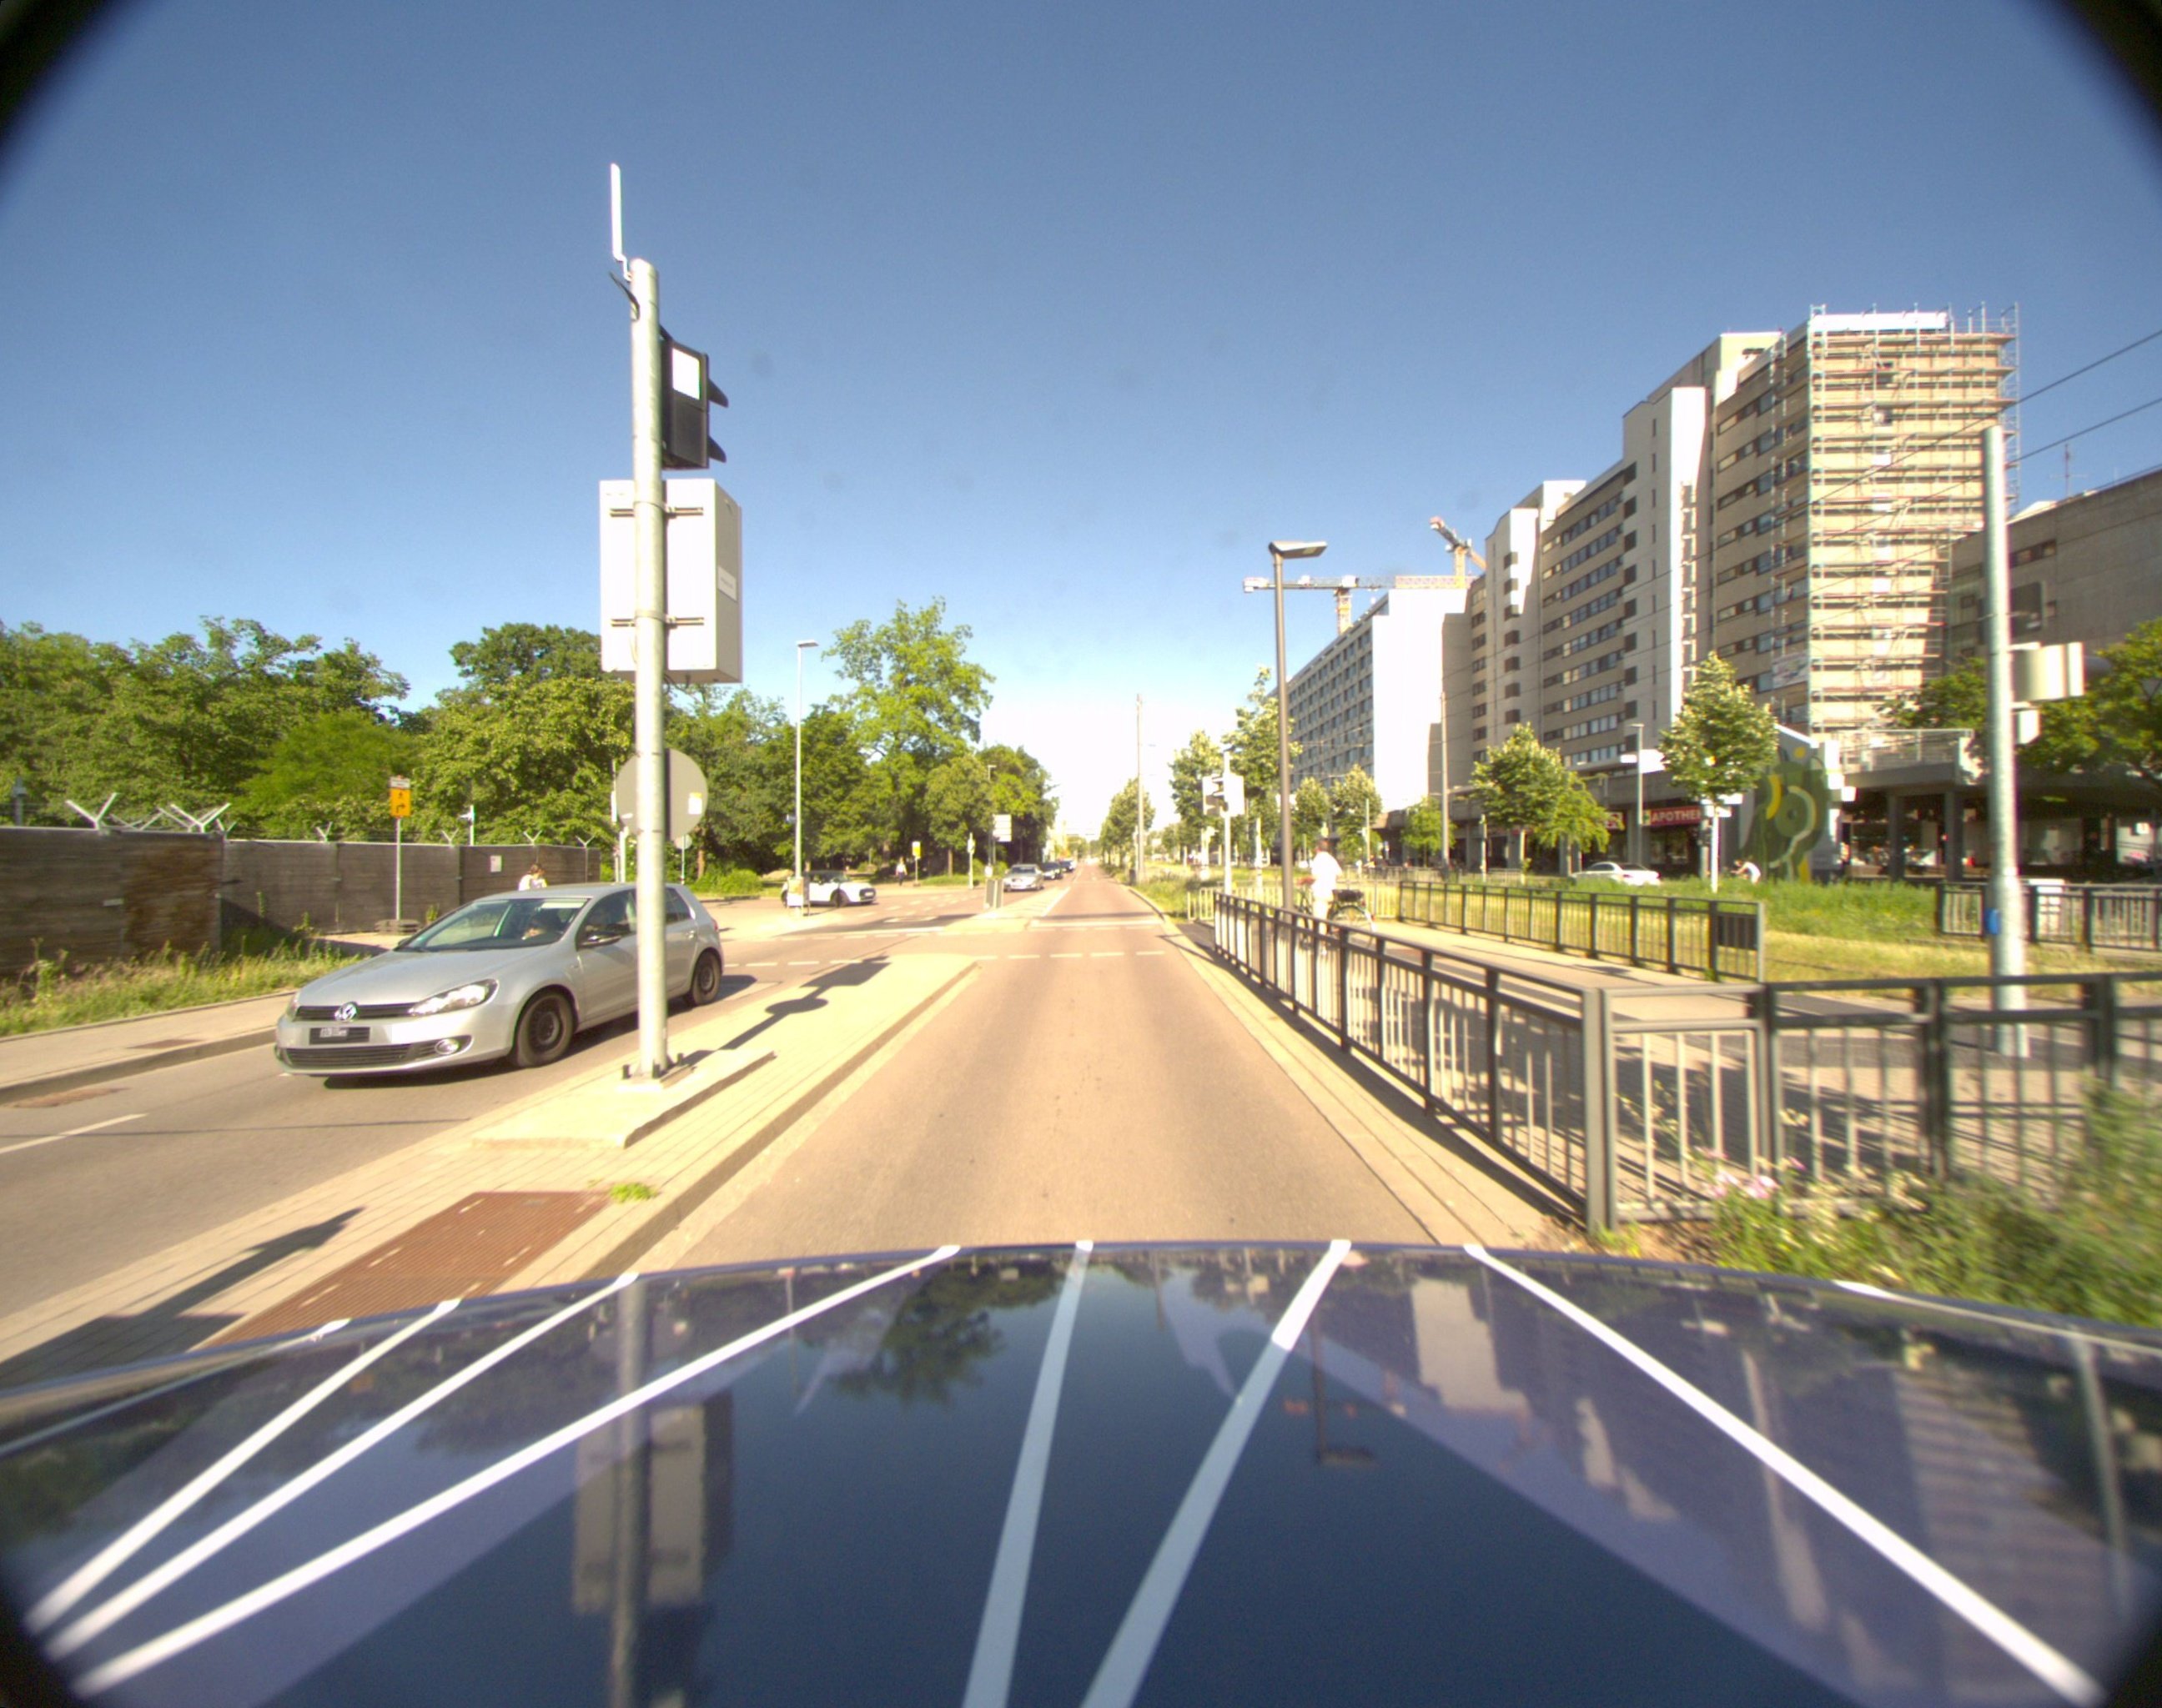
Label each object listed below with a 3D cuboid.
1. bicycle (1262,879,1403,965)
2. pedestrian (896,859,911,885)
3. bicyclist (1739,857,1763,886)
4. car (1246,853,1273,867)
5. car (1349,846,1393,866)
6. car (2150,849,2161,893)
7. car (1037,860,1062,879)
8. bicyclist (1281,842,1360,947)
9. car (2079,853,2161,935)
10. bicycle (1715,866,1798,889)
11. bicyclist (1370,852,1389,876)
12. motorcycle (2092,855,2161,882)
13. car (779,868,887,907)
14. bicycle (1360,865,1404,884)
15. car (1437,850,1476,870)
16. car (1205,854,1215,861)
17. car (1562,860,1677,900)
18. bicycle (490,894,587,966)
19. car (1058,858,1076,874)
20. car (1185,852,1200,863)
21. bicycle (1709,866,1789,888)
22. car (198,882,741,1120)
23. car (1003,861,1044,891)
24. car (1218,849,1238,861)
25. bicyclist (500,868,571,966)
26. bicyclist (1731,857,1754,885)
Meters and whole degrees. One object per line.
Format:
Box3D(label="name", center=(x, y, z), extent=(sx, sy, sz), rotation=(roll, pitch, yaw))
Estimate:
Box3D(label="bicycle", center=(3.668, 0.950, 11.307), extent=(0.736, 1.084, 2.079), rotation=(-2, 0, -26))
Box3D(label="pedestrian", center=(-11.793, 1.179, 50.414), extent=(0.739, 1.692, 0.873), rotation=(-2, 1, -28))
Box3D(label="bicyclist", center=(29.376, 0.770, 33.322), extent=(0.766, 1.218, 0.581), rotation=(-1, 1, 40))
Box3D(label="car", center=(21.332, 0.654, 91.043), extent=(1.999, 1.569, 4.506), rotation=(-2, 0, -1))
Box3D(label="car", center=(24.123, 0.132, 63.431), extent=(1.999, 1.569, 4.105), rotation=(2, 0, -1))
Box3D(label="car", center=(41.121, 0.631, 26.534), extent=(1.998, 1.630, 4.000), rotation=(-2, 0, 1))
Box3D(label="car", center=(-2.587, 1.245, 62.850), extent=(1.999, 1.493, 3.999), rotation=(0, 0, -2))
Box3D(label="bicyclist", center=(3.618, 0.587, 11.496), extent=(0.829, 1.503, 0.728), rotation=(-2, 1, -25))
Box3D(label="car", center=(21.759, 0.788, 13.525), extent=(1.999, 1.569, 4.506), rotation=(1, 0, -1))
Box3D(label="bicycle", center=(29.492, 1.030, 33.228), extent=(2.667, 0.946, 0.563), rotation=(-1, 1, 40))
Box3D(label="bicyclist", center=(15.460, 0.523, 39.317), extent=(0.766, 1.218, 0.581), rotation=(-1, 1, 40))
Box3D(label="motorcycle", center=(45.085, 0.615, 32.794), extent=(0.446, 1.099, 1.876), rotation=(-2, 0, 2))
Box3D(label="car", center=(-9.775, 1.313, 29.958), extent=(3.703, 1.428, 1.775), rotation=(-2, 0, 21))
Box3D(label="bicycle", center=(15.557, 1.072, 39.257), extent=(2.011, 0.946, 0.563), rotation=(-1, 1, 40))
Box3D(label="car", center=(31.472, 0.502, 63.641), extent=(1.712, 1.511, 4.008), rotation=(-1, 0, 44))
Box3D(label="car", center=(33.160, 0.908, 195.227), extent=(1.827, 1.499, 3.813), rotation=(-2, 0, 1))
Box3D(label="car", center=(24.441, 1.134, 34.717), extent=(1.999, 1.569, 4.506), rotation=(-2, 0, -1))
Box3D(label="bicycle", center=(-9.743, 1.328, 13.619), extent=(2.118, 1.106, 0.605), rotation=(1, 1, 30))
Box3D(label="car", center=(-1.623, 1.417, 90.614), extent=(1.998, 1.718, 4.000), rotation=(-2, 0, 0))
Box3D(label="car", center=(19.447, 0.541, 132.313), extent=(1.998, 1.808, 4.286), rotation=(-2, 0, 2))
Box3D(label="bicycle", center=(29.844, 1.017, 34.017), extent=(2.667, 0.946, 0.563), rotation=(-1, 1, 40))
Box3D(label="car", center=(-5.141, 1.100, 7.250), extent=(1.702, 1.465, 4.001), rotation=(-2, 0, 4))
Box3D(label="car", center=(-2.988, 1.138, 40.148), extent=(1.839, 1.415, 4.000), rotation=(-2, 0, 0))
Box3D(label="car", center=(21.398, 0.117, 110.972), extent=(1.999, 1.569, 4.506), rotation=(-2, 0, -1))
Box3D(label="bicyclist", center=(-9.781, 1.096, 13.633), extent=(0.850, 1.663, 0.745), rotation=(1, 1, 31))
Box3D(label="bicyclist", center=(29.704, 0.759, 34.121), extent=(0.766, 1.218, 0.581), rotation=(-1, 1, 40))
